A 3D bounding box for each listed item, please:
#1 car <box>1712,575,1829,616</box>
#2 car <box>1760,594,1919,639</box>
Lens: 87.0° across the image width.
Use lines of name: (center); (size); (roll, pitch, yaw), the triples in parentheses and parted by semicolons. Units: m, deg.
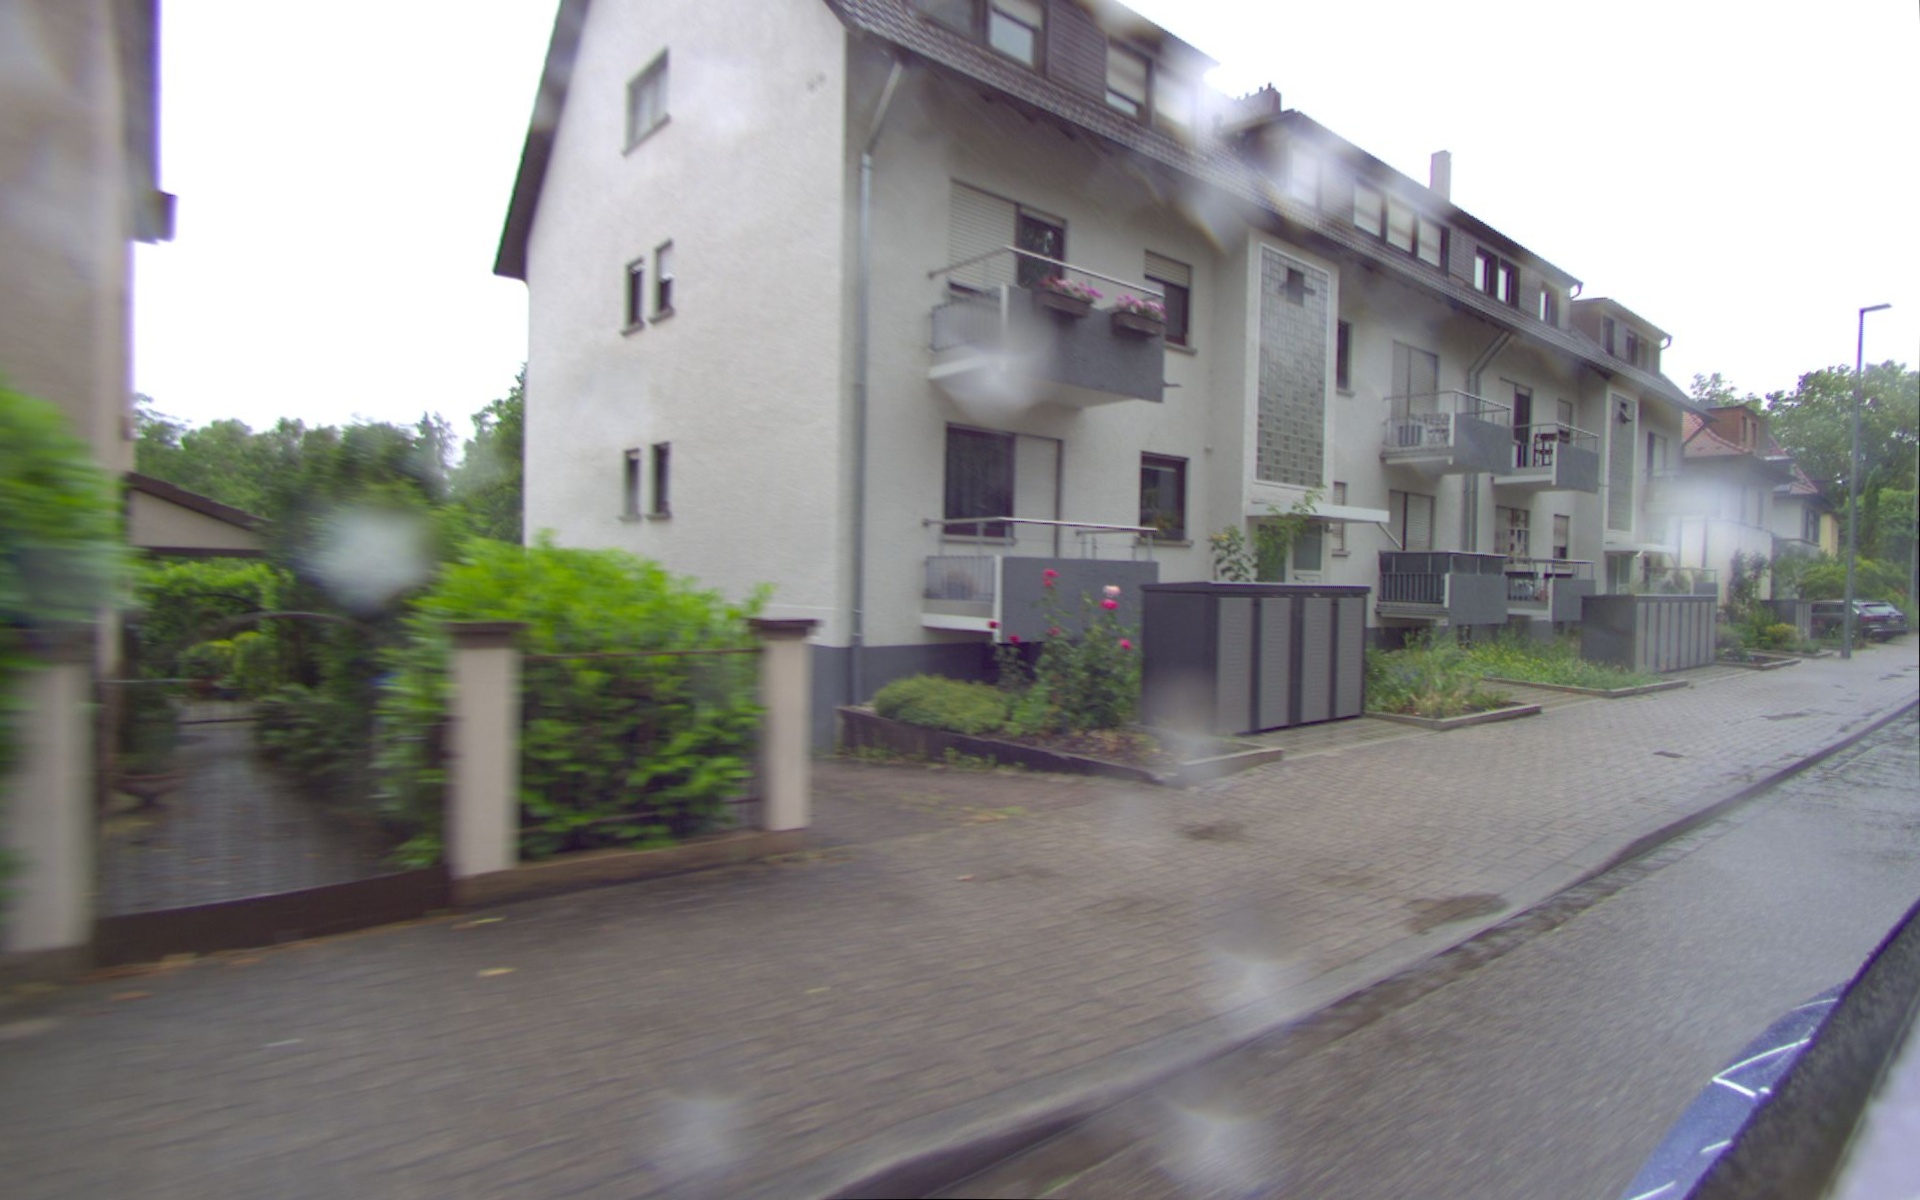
car: (38.679, -0.197, 48.368); (1.789, 1.601, 3.992); (0, -5, -40)
car: (30.714, 0.510, 35.205); (1.880, 1.381, 4.390); (0, 1, -9)
